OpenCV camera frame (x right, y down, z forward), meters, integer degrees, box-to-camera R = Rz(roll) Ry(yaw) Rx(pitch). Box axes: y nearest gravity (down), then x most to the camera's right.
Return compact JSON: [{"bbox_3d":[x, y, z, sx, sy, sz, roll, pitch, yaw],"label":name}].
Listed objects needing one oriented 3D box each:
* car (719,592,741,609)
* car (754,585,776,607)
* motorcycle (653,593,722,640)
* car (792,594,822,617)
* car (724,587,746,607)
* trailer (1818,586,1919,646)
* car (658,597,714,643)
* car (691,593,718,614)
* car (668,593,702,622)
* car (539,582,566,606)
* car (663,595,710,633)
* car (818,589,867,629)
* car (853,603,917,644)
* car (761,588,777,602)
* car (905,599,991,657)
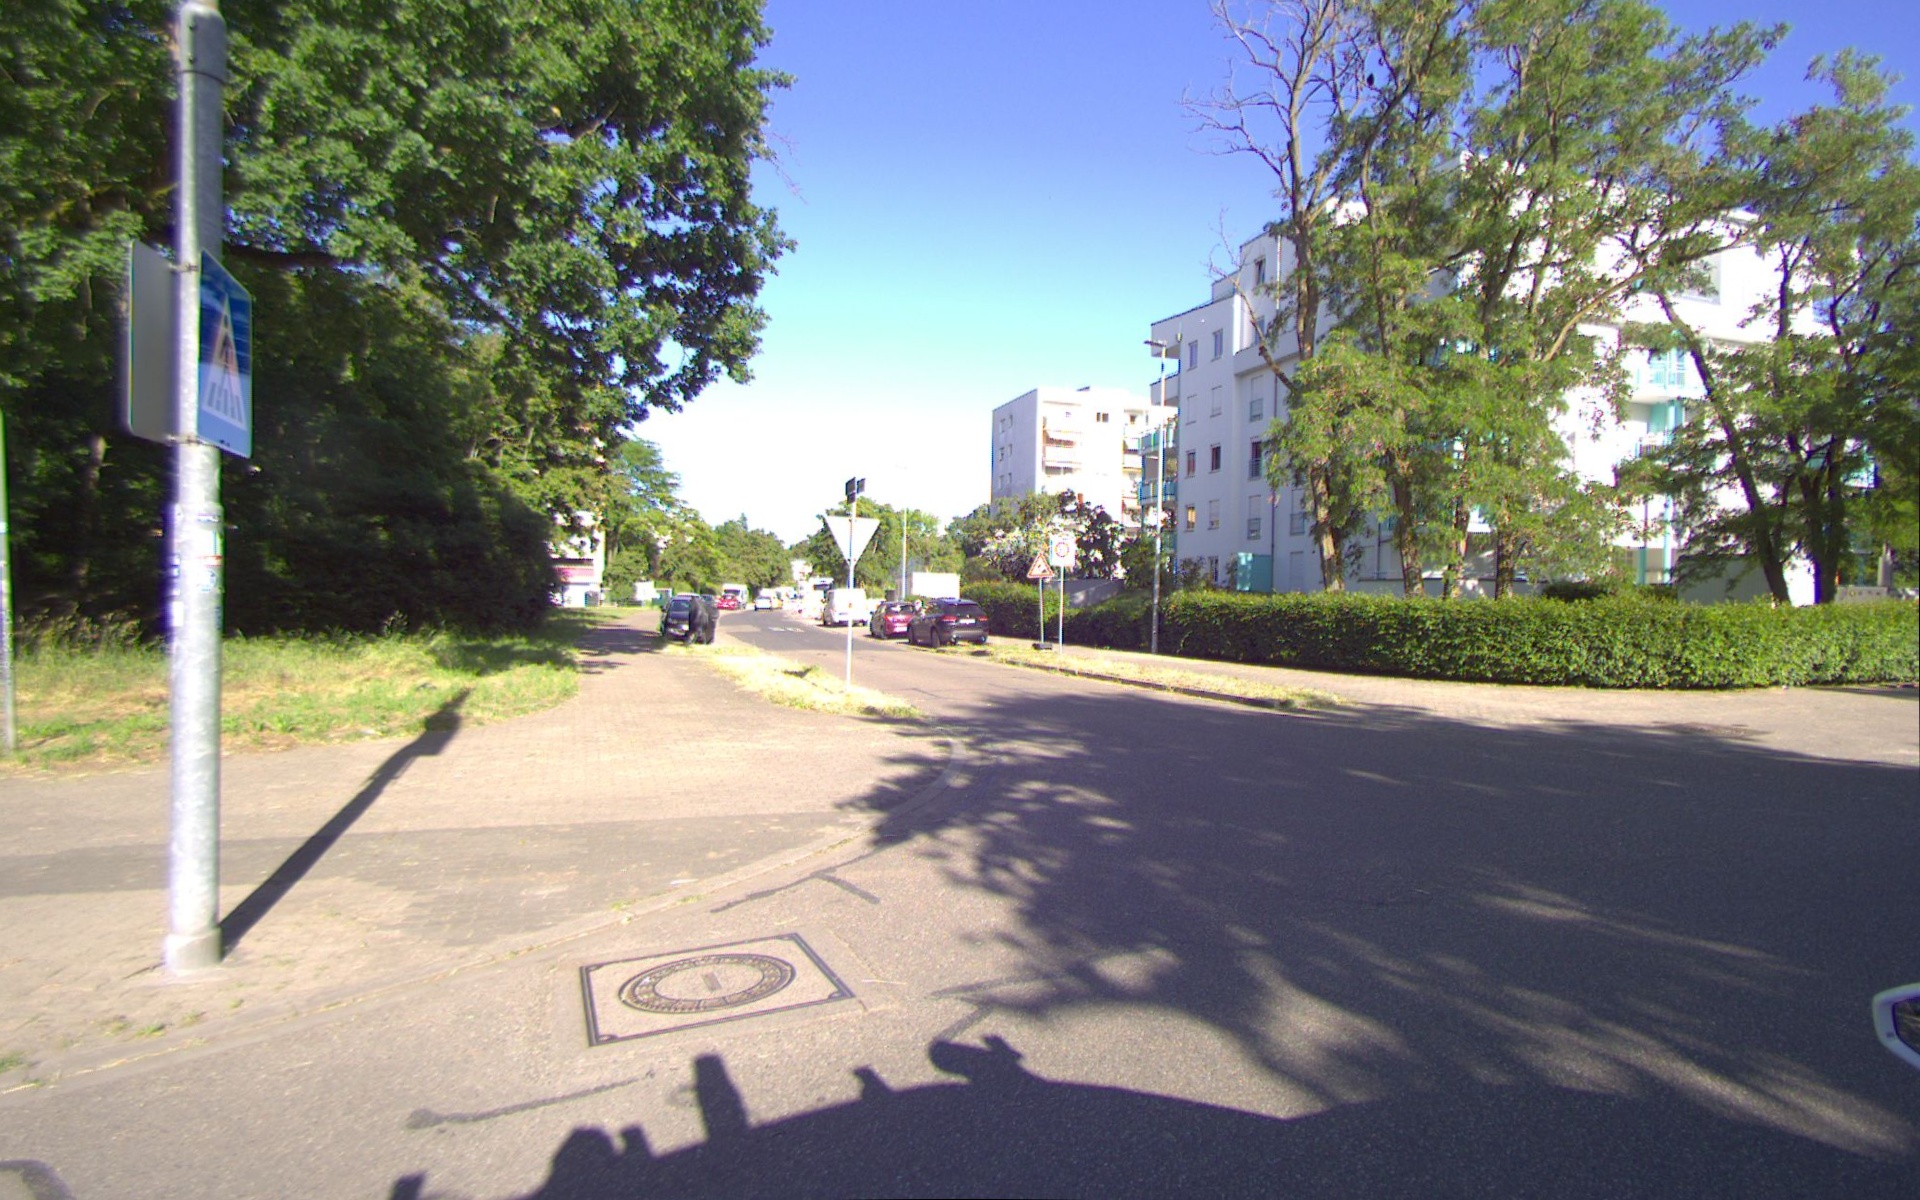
[{"bbox_3d":[-22.106,0.029,96.699,1.794,1.617,3.993,1,0,-9],"label":"car"},{"bbox_3d":[-18.634,-0.375,96.189,1.897,2.041,3.992,1,1,-10],"label":"car"},{"bbox_3d":[-8.138,0.488,30.057,0.665,1.362,1.953,2,1,38],"label":"motorcycle"},{"bbox_3d":[-10.581,0.355,69.335,1.497,1.486,3.060,1,1,-19],"label":"car"},{"bbox_3d":[-22.768,-0.289,101.811,1.948,1.925,3.993,1,0,-9],"label":"car"},{"bbox_3d":[33.407,0.583,36.048,4.359,2.070,1.975,1,0,-18],"label":"trailer"},{"bbox_3d":[-9.305,0.651,33.991,1.536,1.410,3.572,1,1,-20],"label":"car"},{"bbox_3d":[-20.005,0.248,78.549,1.620,1.578,3.818,1,1,-20],"label":"car"},{"bbox_3d":[-16.171,0.411,58.979,1.620,1.578,3.818,1,1,-20],"label":"car"},{"bbox_3d":[-31.246,-0.443,77.077,1.736,1.767,3.818,1,1,-20],"label":"car"},{"bbox_3d":[-11.111,0.538,40.711,1.536,1.410,3.572,1,1,-20],"label":"car"},{"bbox_3d":[-6.352,0.450,54.044,1.800,2.088,3.818,1,1,-20],"label":"car"},{"bbox_3d":[-3.082,0.913,40.609,1.613,1.531,3.818,1,1,-20],"label":"car"},{"bbox_3d":[-24.957,-0.669,131.287,1.858,1.662,3.994,1,0,-8],"label":"car"},{"bbox_3d":[-0.465,0.905,34.203,1.730,1.808,3.818,1,1,-20],"label":"car"}]
